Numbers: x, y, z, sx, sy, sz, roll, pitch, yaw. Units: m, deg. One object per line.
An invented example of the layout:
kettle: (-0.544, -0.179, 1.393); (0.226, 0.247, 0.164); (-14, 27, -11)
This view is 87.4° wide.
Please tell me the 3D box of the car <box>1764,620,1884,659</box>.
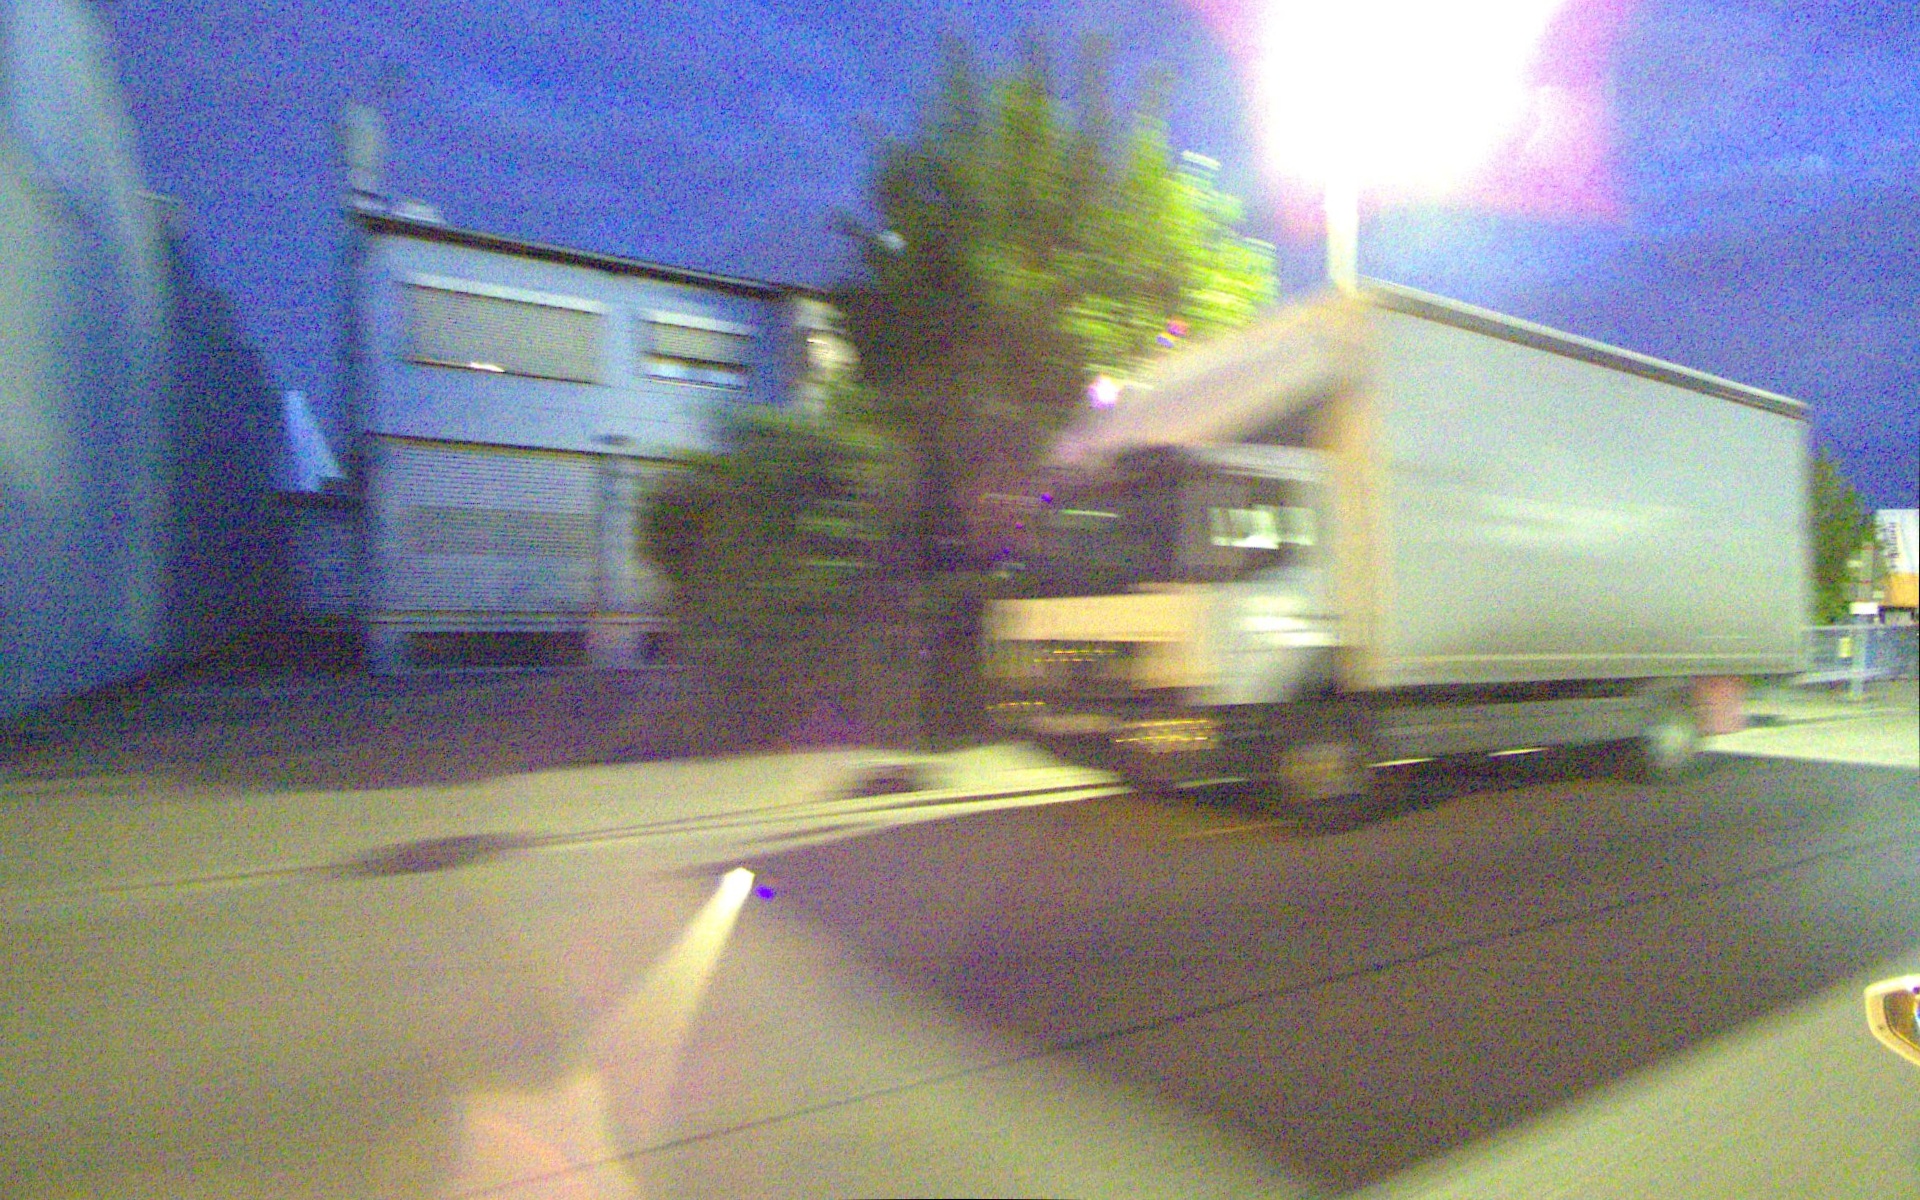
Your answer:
car: (44.323, 1.998, 51.576); (4.560, 1.840, 1.950); (0, -1, 45)

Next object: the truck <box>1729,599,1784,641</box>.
truck: (77.771, 1.970, 98.054); (4.458, 3.985, 3.038); (1, 0, -35)

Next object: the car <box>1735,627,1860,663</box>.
car: (38.942, 2.056, 46.769); (4.359, 1.502, 1.880); (0, -1, 45)

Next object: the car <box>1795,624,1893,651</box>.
car: (53.197, 2.221, 60.475); (4.359, 1.498, 1.839); (0, -1, 45)

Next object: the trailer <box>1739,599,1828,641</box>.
trailer: (84.153, 2.123, 102.517); (14.851, 3.985, 3.038); (2, 0, -35)

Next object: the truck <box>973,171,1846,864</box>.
truck: (4.849, -0.393, 9.567); (9.451, 4.087, 2.732); (1, -1, -31)
